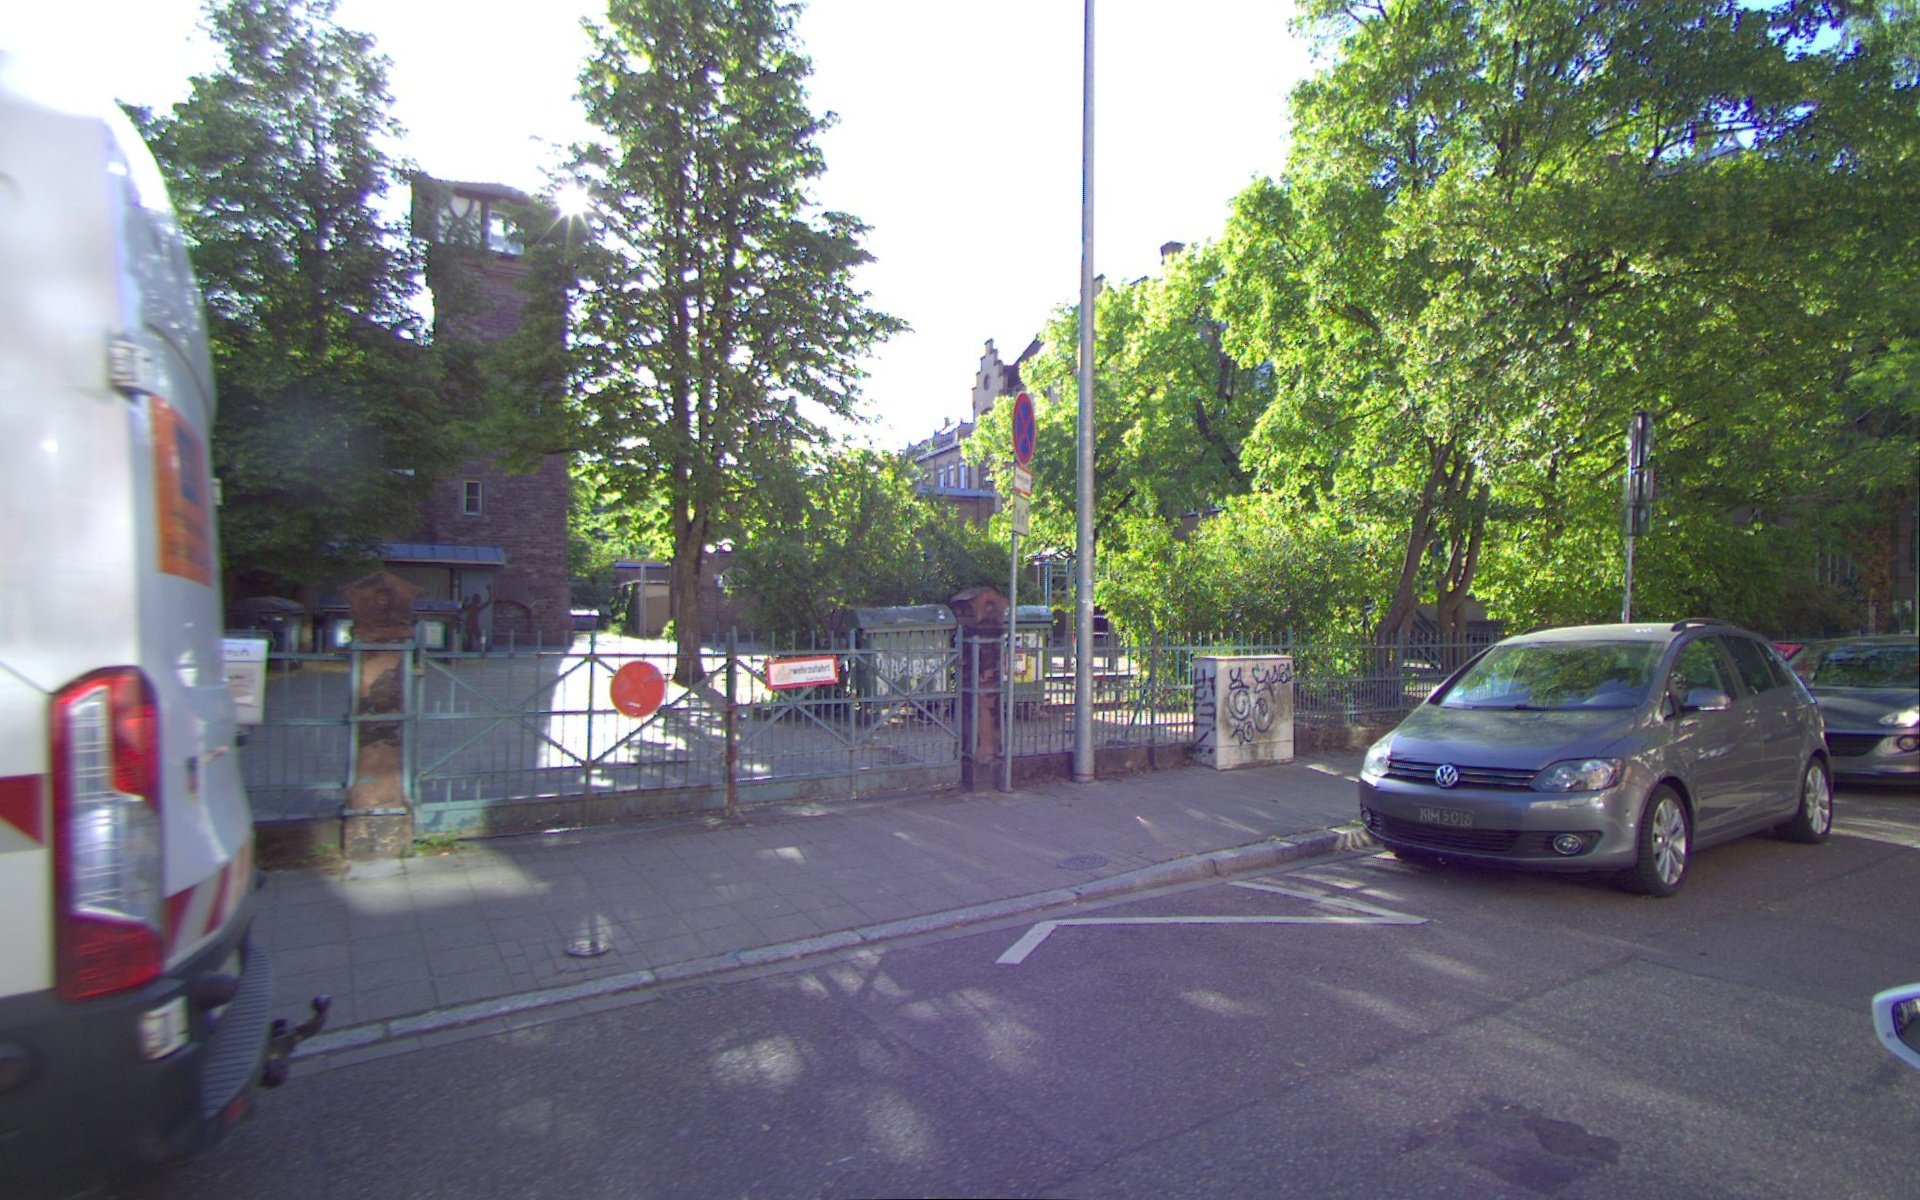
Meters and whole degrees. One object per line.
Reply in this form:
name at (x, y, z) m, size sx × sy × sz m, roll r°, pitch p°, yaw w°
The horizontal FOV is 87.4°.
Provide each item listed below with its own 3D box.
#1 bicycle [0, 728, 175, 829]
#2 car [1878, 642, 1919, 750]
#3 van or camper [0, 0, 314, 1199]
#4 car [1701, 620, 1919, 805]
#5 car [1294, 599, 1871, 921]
bicycle at (-6.099, 1.181, 6.616) m, size 1.417 × 0.548 × 0.402 m, roll 1°, pitch 0°, yaw -33°
car at (14.707, 1.245, 14.046) m, size 4.731 × 1.413 × 1.703 m, roll 1°, pitch -5°, yaw -35°
van or camper at (-4.327, 0.223, 1.347) m, size 5.790 × 2.805 × 2.116 m, roll 1°, pitch -3°, yaw -34°
car at (9.612, 1.043, 10.450) m, size 4.106 × 1.593 × 1.667 m, roll 1°, pitch -4°, yaw -33°
car at (4.503, 0.876, 7.048) m, size 4.423 × 1.611 × 1.770 m, roll 1°, pitch -3°, yaw -34°
